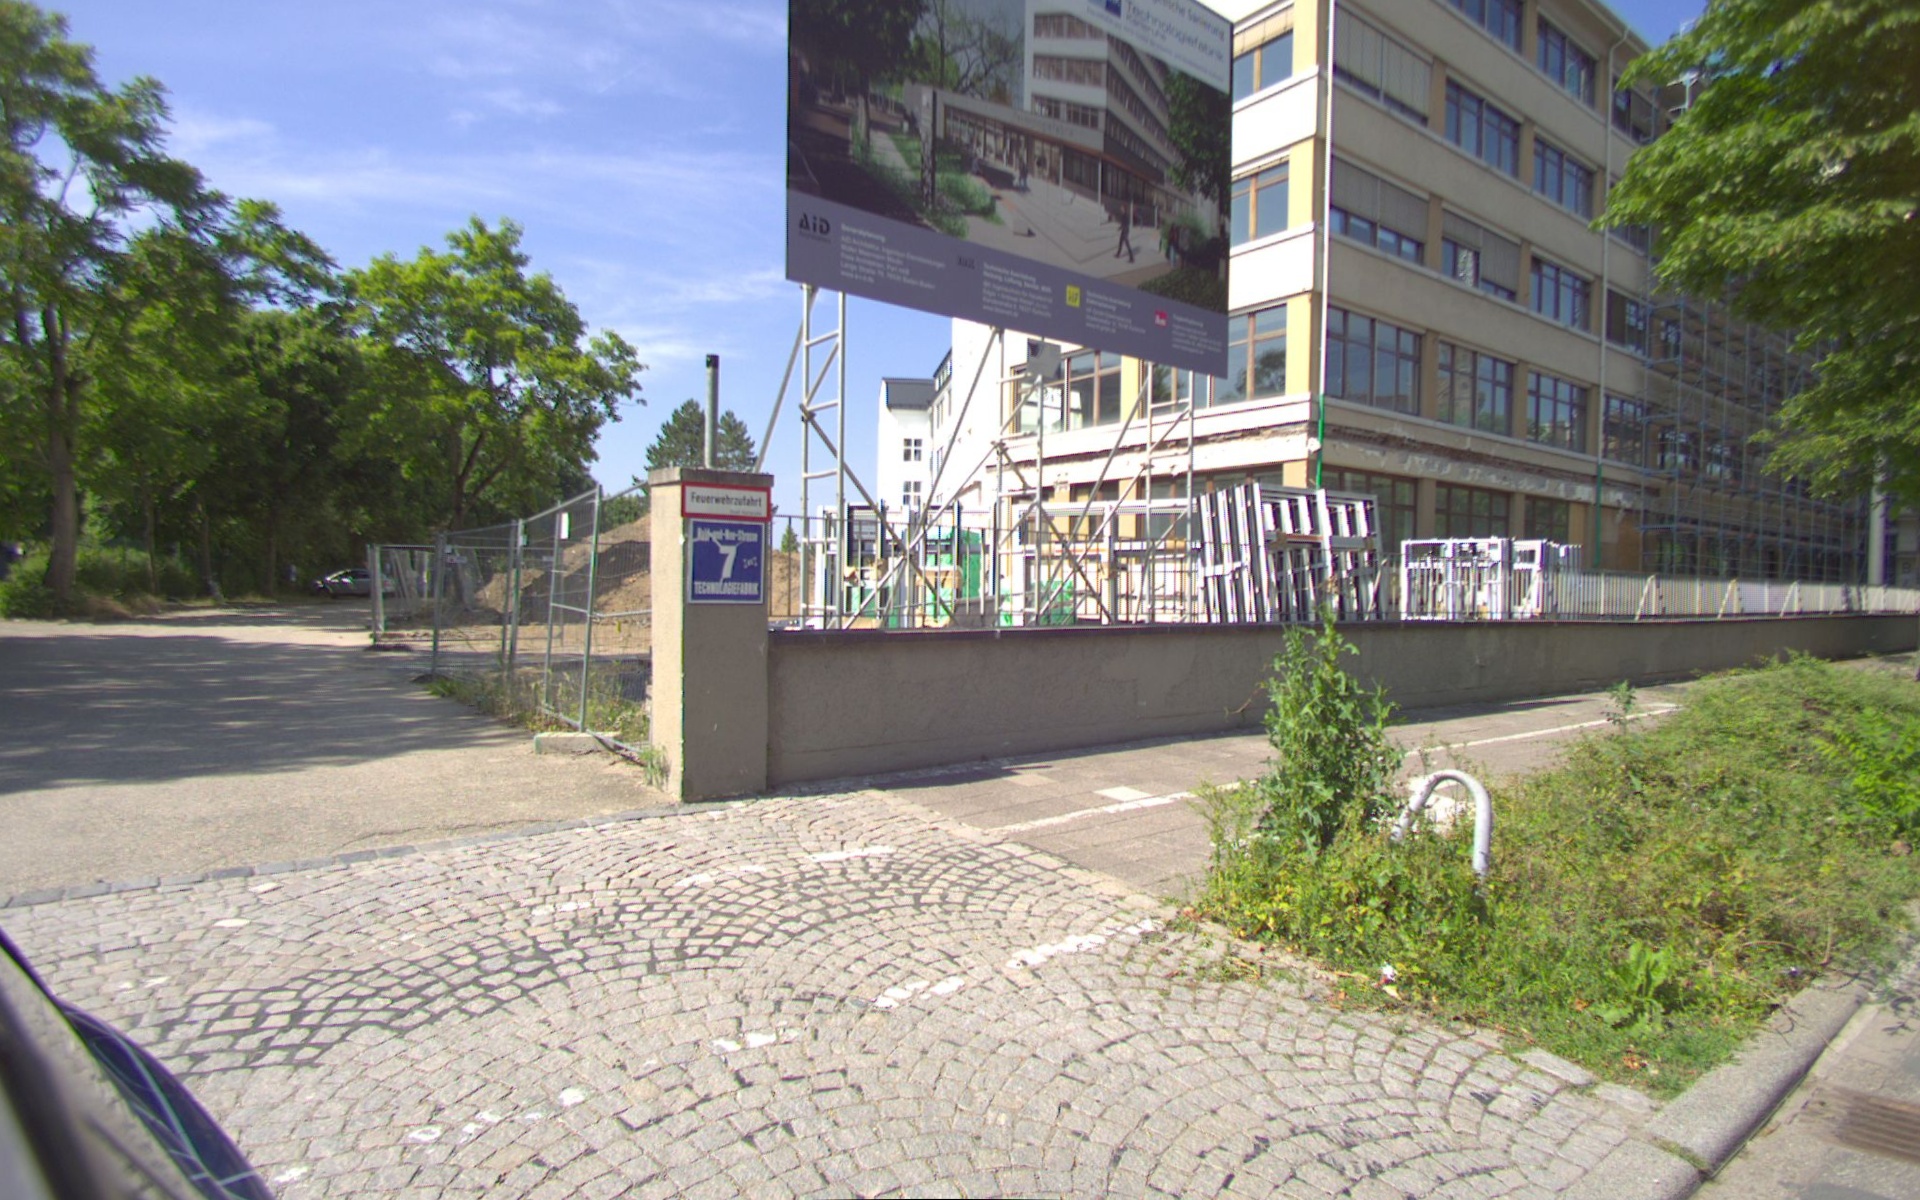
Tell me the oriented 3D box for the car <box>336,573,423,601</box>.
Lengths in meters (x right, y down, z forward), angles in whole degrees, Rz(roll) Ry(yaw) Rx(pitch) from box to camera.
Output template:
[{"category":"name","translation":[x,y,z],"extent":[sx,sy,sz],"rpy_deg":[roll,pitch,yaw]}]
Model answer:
[{"category":"car","translation":[-32.890,-0.736,57.455],"extent":[3.932,1.453,2.006],"rpy_deg":[1,1,-17]}]

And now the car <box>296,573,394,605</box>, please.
[{"category":"car","translation":[-31.644,-0.552,52.202],"extent":[3.932,1.519,2.006],"rpy_deg":[1,1,-17]}]
